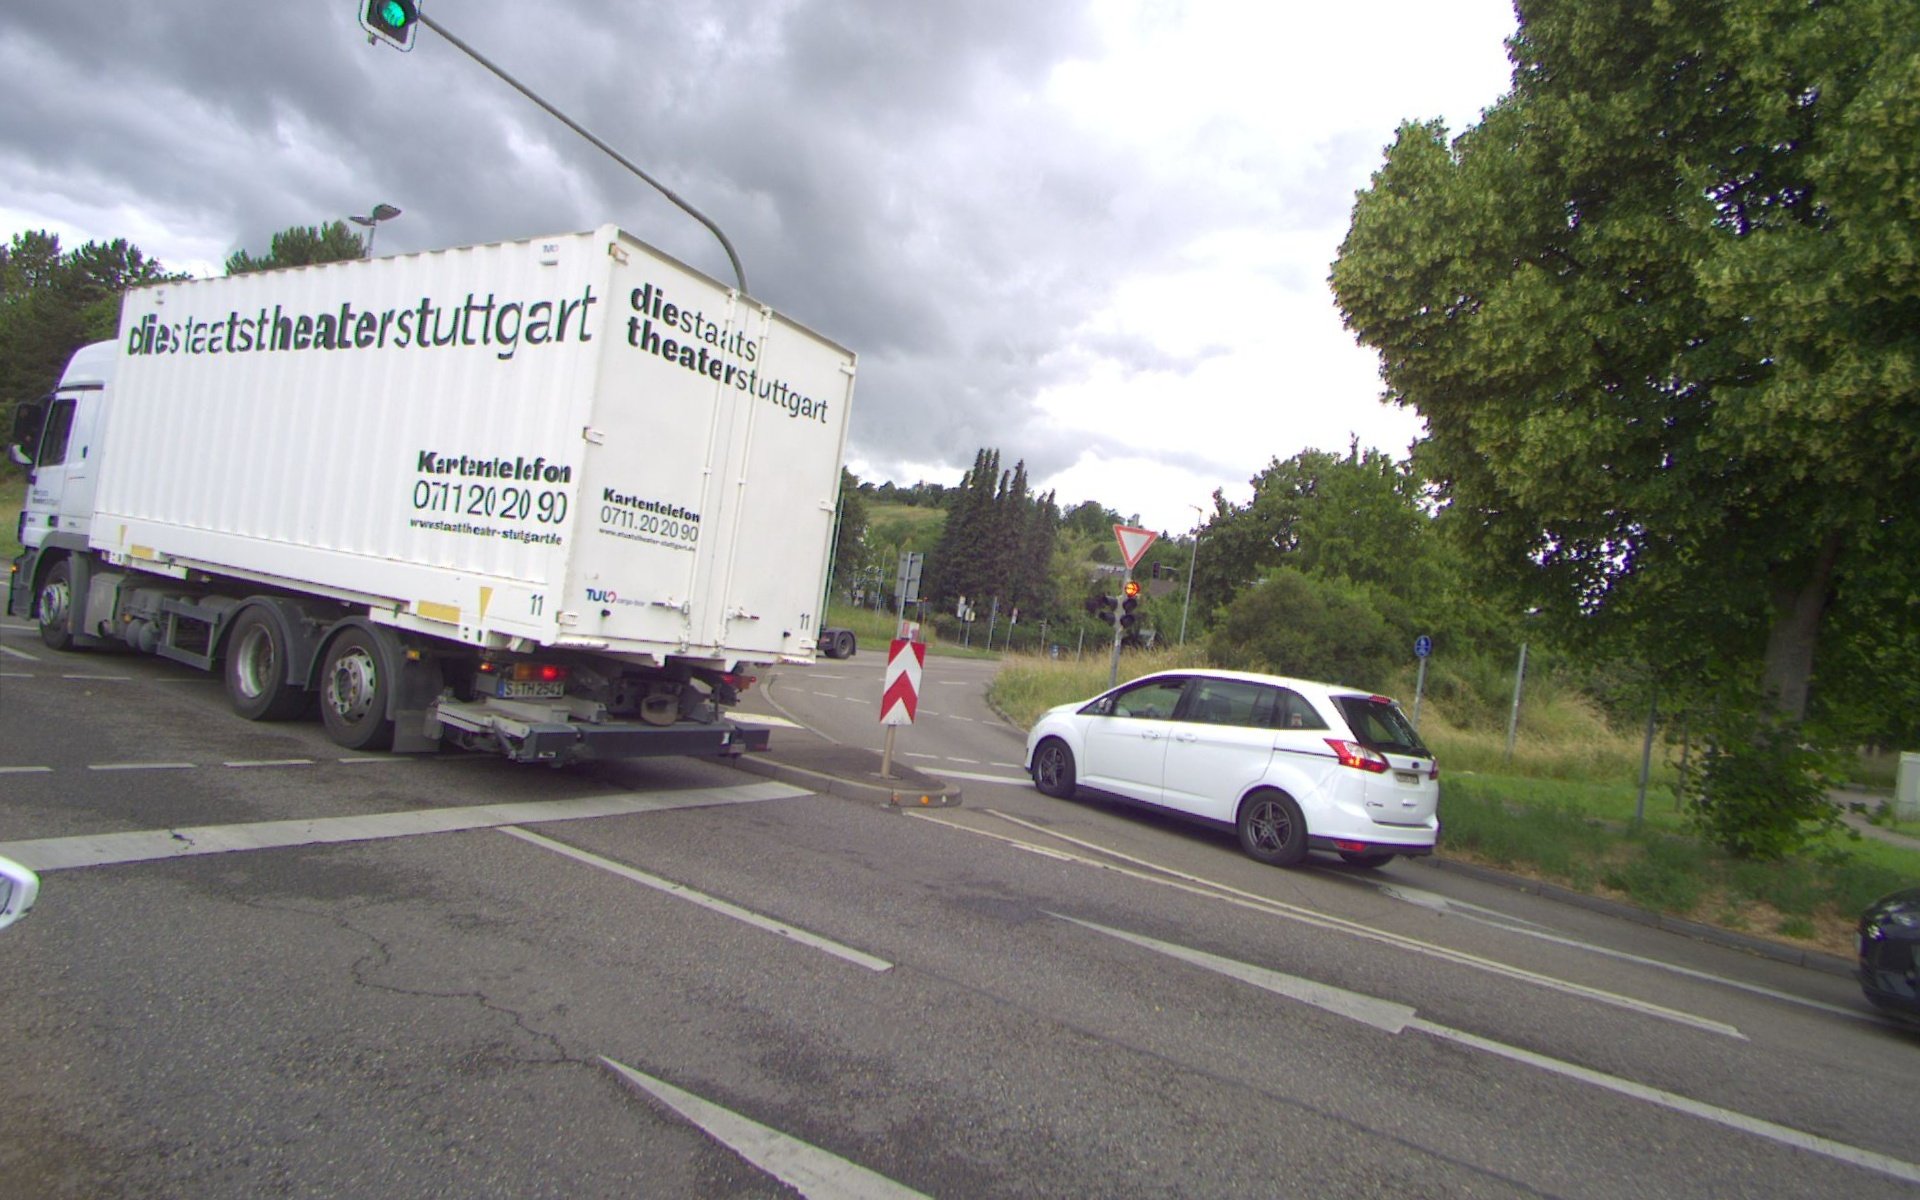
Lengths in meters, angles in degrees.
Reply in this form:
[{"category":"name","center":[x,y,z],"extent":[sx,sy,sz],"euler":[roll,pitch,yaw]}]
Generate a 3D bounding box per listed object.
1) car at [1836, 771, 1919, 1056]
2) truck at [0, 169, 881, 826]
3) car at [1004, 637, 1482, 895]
[{"category":"car","center":[7.139,2.012,5.356],"extent":[3.511,1.524,1.603],"euler":[6,-2,38]},{"category":"truck","center":[-5.846,-1.000,9.846],"extent":[10.013,3.949,2.808],"euler":[7,-1,32]},{"category":"car","center":[2.601,1.503,10.215],"extent":[1.752,1.673,4.325],"euler":[10,-3,-37]}]
